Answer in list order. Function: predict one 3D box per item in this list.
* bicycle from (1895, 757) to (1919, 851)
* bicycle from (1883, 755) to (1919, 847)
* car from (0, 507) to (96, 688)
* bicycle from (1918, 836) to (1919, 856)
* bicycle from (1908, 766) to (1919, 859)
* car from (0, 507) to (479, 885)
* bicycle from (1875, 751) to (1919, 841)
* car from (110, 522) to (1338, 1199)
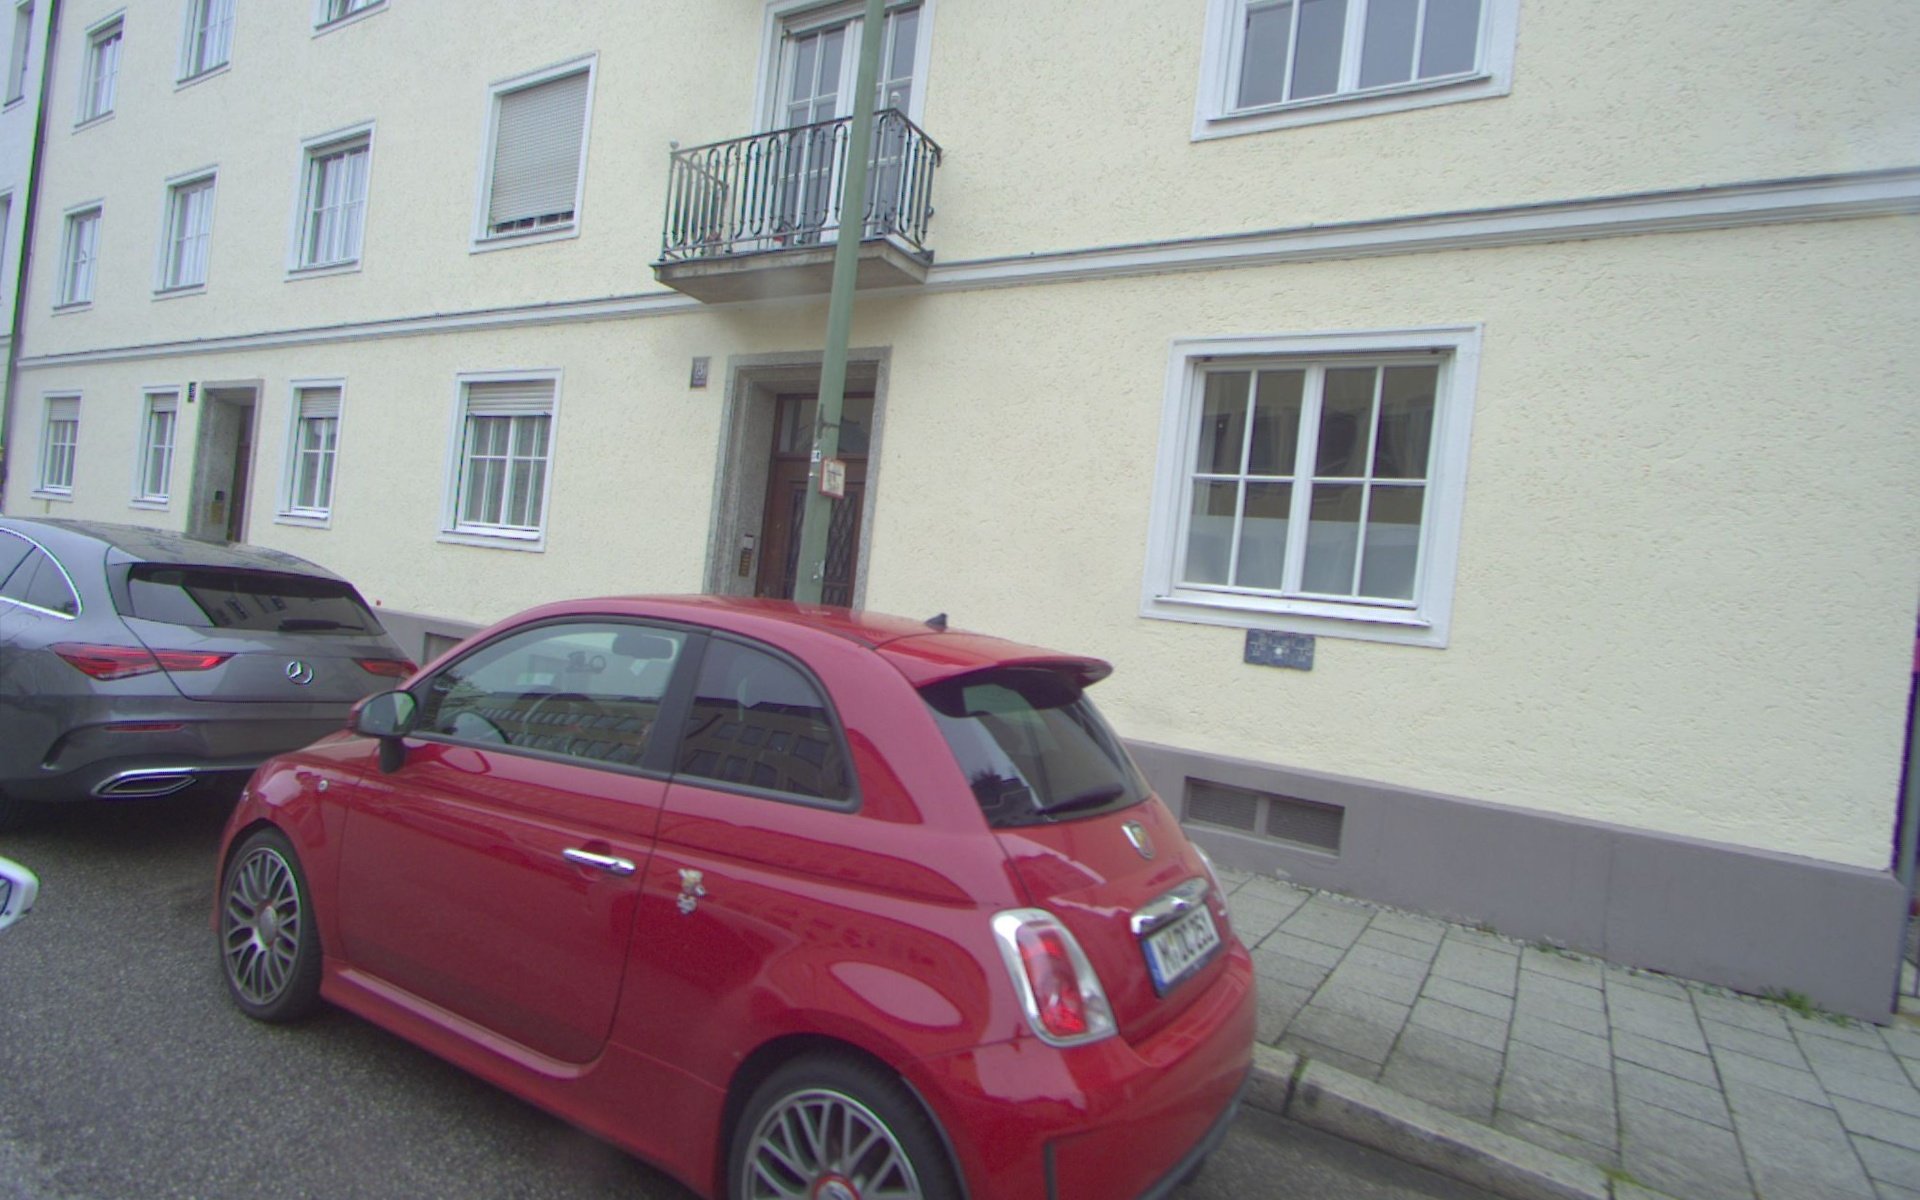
[{"bbox_3d":[12.950,2.700,12.633,1.614,1.174,0.422,6,-1,33],"label":"bicycle"},{"bbox_3d":[13.494,2.797,13.404,1.614,1.174,0.422,6,-1,33],"label":"bicycle"},{"bbox_3d":[-9.588,-0.241,8.805,4.368,1.427,1.682,6,-1,31],"label":"car"},{"bbox_3d":[12.422,2.643,11.781,1.614,1.096,0.372,6,-1,34],"label":"bicycle"},{"bbox_3d":[12.686,2.728,12.190,1.614,1.129,0.372,6,-1,33],"label":"bicycle"},{"bbox_3d":[-4.896,0.259,5.714,4.348,1.427,1.682,6,-1,31],"label":"car"},{"bbox_3d":[13.871,2.827,13.945,1.614,1.174,0.422,6,-1,33],"label":"bicycle"},{"bbox_3d":[-0.935,0.718,3.360,3.760,1.515,1.682,6,-1,31],"label":"car"}]
